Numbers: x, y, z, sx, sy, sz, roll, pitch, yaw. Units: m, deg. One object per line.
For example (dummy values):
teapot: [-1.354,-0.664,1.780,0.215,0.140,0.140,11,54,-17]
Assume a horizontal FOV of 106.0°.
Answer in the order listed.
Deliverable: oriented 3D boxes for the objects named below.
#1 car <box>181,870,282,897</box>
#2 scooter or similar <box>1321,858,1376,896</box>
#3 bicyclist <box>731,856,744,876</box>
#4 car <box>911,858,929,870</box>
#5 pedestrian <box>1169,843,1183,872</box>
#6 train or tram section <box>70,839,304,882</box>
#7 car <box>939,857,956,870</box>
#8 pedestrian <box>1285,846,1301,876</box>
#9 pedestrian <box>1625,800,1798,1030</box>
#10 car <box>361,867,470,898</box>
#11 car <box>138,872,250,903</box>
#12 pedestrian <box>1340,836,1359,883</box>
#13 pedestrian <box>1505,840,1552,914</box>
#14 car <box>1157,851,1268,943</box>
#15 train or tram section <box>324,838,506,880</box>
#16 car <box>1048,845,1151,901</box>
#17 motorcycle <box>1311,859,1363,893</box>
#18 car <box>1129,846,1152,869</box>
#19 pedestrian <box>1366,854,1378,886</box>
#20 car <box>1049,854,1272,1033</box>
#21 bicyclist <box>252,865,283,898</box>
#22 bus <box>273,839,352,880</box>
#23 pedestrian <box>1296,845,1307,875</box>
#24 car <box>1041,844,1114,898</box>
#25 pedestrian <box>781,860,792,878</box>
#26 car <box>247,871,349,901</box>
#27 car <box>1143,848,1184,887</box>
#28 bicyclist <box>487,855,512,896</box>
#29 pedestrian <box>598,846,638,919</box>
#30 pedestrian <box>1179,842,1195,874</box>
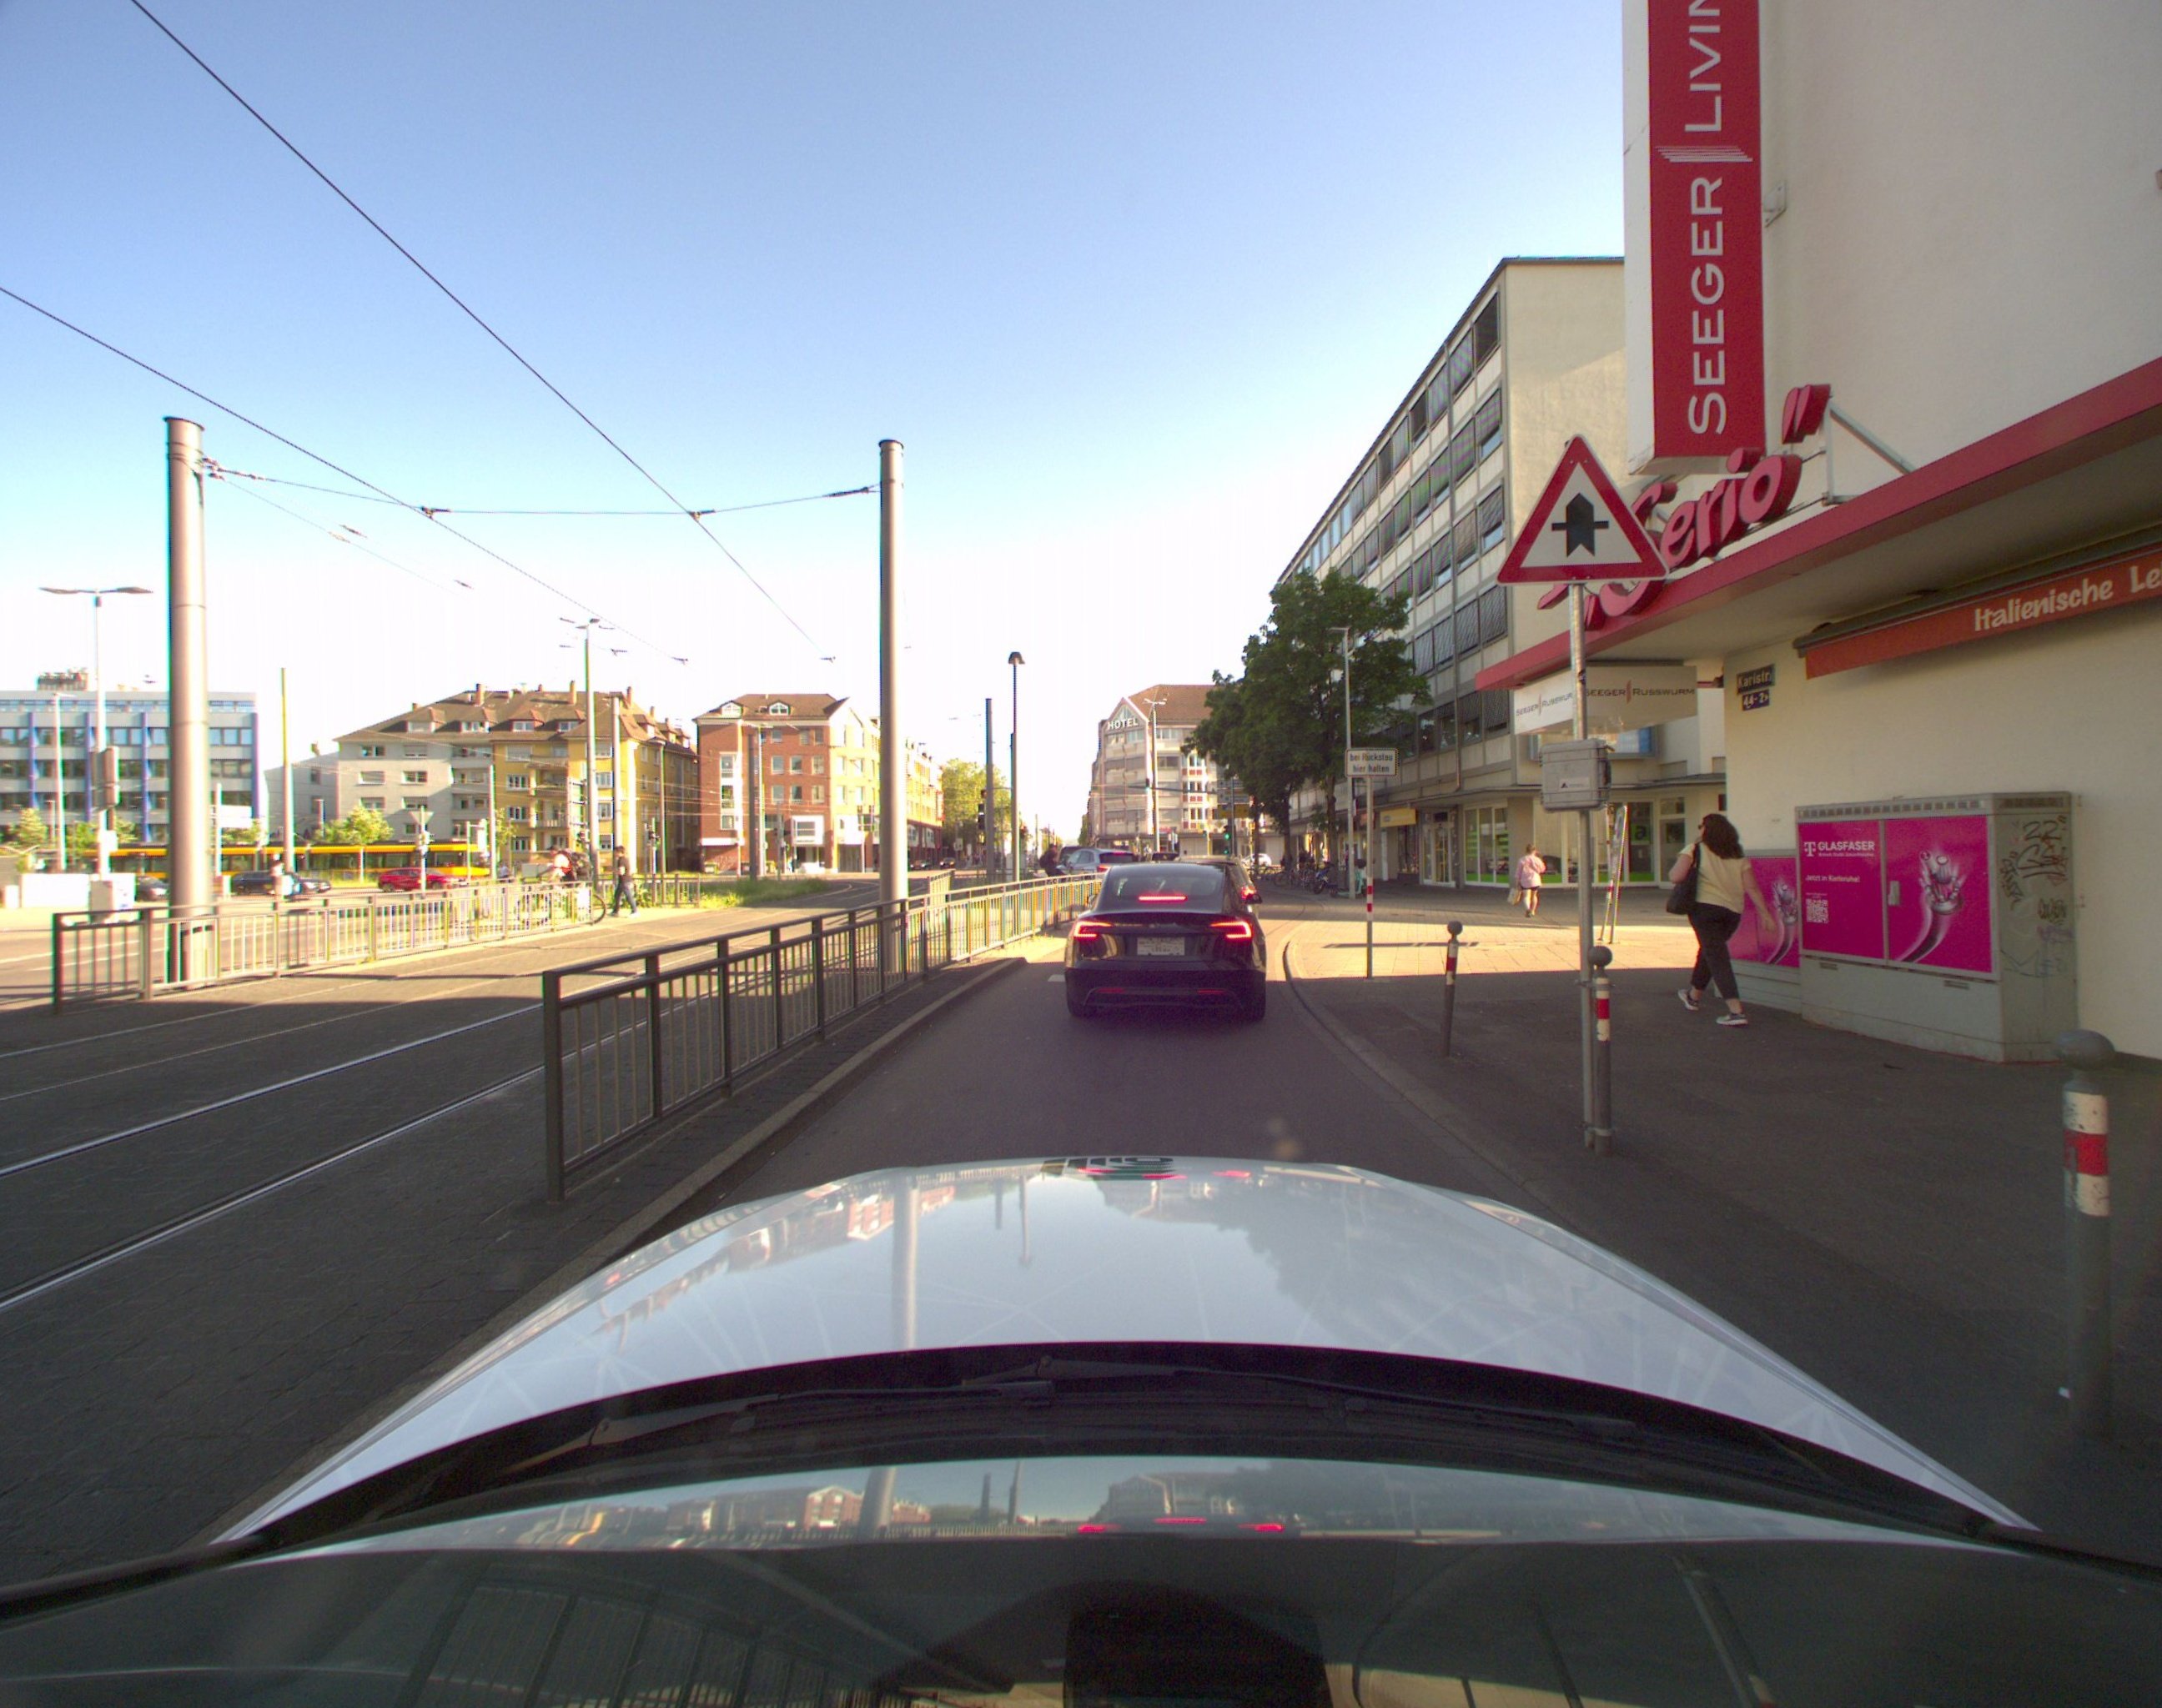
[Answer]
car: [-49.637,1.719,47.658,3.850,1.526,1.641,0,-1,-8]
scooter or similar: [8.898,0.760,27.114,1.625,1.215,0.649,-1,-1,32]
bicyclist: [-26.047,0.919,61.738,0.631,1.503,0.696,0,-1,1]
car: [-20.433,1.235,103.477,1.706,1.527,4.032,0,-1,-3]
pedestrian: [6.521,0.245,55.912,0.917,2.014,0.973,0,-1,1]
train or tram section: [-68.414,0.477,62.580,13.654,3.131,2.728,0,-1,-6]
car: [-17.461,1.236,106.650,1.692,1.731,3.706,0,-1,0]
pedestrian: [11.800,0.392,45.433,0.697,1.662,0.777,0,-1,1]
pedestrian: [5.224,0.466,6.843,0.906,1.752,1.044,-1,0,25]
car: [-39.457,1.657,48.387,4.585,1.700,1.993,0,-1,-10]
car: [-50.623,1.883,46.574,3.952,1.685,1.903,0,-1,-11]
pedestrian: [11.711,0.228,35.501,0.659,2.014,0.580,0,-1,4]
pedestrian: [10.376,0.535,18.905,0.881,1.667,0.813,-1,-1,25]
car: [2.383,0.687,15.020,1.741,1.454,4.009,-1,0,8]
train or tram section: [-52.434,0.369,64.411,11.222,3.131,2.798,0,-1,-8]
car: [0.510,0.585,26.605,1.891,1.662,4.126,0,-1,-23]
motorcycle: [9.144,0.783,29.122,1.701,1.173,0.541,0,-1,0]
car: [4.798,0.286,65.927,1.713,1.751,3.755,0,-1,2]
pedestrian: [12.553,0.693,35.139,0.388,1.343,0.513,0,-1,4]
car: [0.883,0.750,8.709,1.820,1.455,4.007,-1,-1,7]
bicyclist: [-45.259,1.533,45.326,0.901,1.808,0.788,0,-1,-11]
bus: [-59.832,0.418,63.490,3.510,3.131,2.766,0,-1,-5]
pedestrian: [12.350,0.341,45.609,0.524,1.710,0.403,0,-1,0]
car: [-0.215,0.662,32.779,1.997,2.014,3.980,-1,0,-15]
pedestrian: [-30.245,1.514,83.619,0.780,1.820,0.747,0,-1,3]
car: [-45.494,1.842,47.392,3.984,1.672,1.772,0,-1,-8]
car: [3.912,0.632,39.161,1.593,1.778,3.980,0,-1,0]
bicyclist: [-25.201,0.924,35.297,0.760,1.759,0.746,0,-1,-26]
pedestrian: [-10.855,0.654,19.100,0.591,1.681,0.771,0,-1,-11]
pedestrian: [6.876,0.249,52.819,0.917,2.014,0.973,0,-1,1]
